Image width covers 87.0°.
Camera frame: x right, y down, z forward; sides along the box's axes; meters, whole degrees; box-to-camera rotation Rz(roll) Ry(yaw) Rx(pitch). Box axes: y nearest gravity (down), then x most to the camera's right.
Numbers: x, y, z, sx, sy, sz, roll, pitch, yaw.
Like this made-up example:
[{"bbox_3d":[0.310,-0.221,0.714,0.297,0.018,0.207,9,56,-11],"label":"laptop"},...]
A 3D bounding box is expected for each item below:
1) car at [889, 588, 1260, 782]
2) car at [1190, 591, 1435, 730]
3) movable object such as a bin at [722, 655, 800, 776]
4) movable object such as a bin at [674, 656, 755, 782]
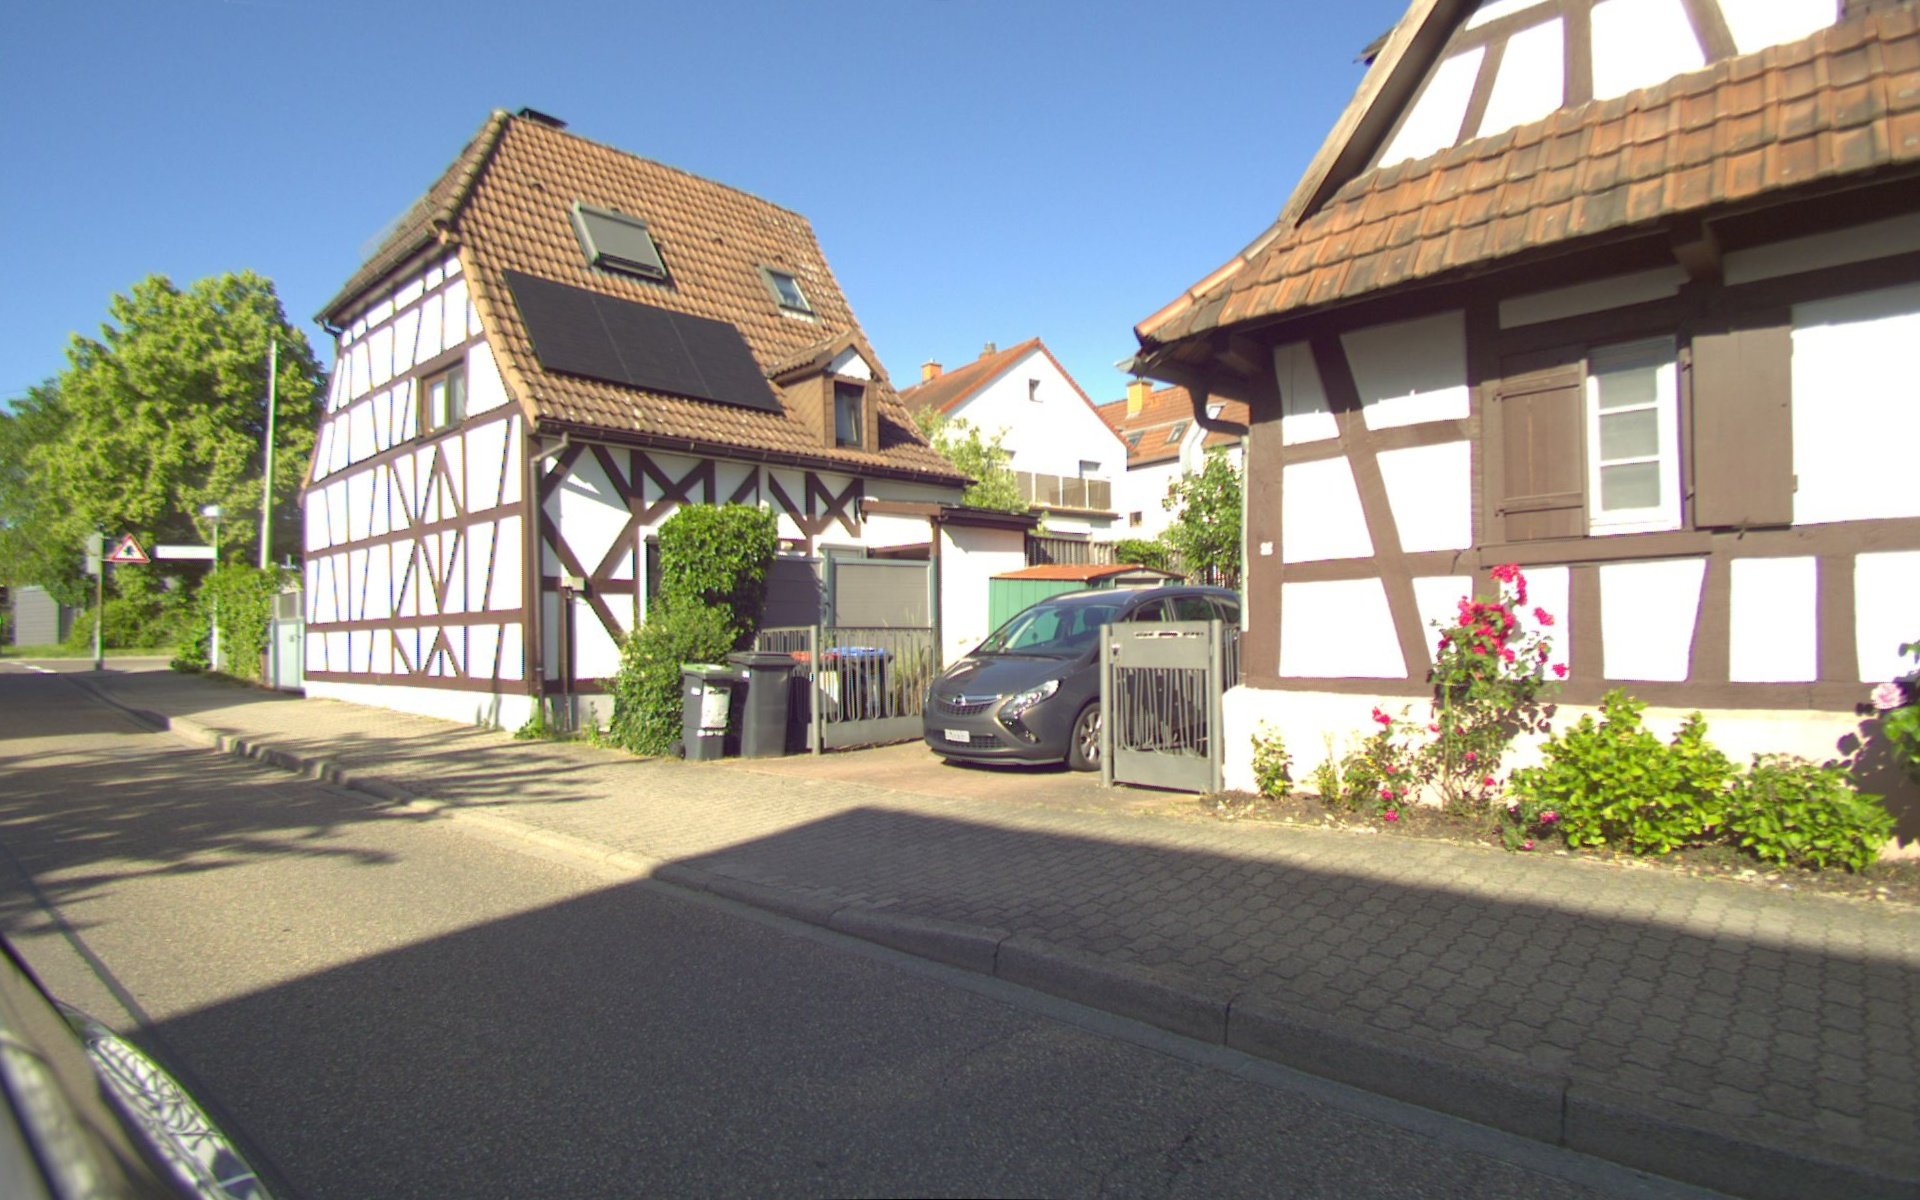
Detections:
[{"bbox_3d":[1.366,0.796,10.550,1.819,1.604,4.059,-1,-3,42],"label":"car"},{"bbox_3d":[5.066,0.716,14.238,1.819,1.604,4.060,-1,1,42],"label":"car"},{"bbox_3d":[-2.013,1.141,10.231,0.667,1.149,0.471,-2,-2,42],"label":"movable object such as a bin"},{"bbox_3d":[-2.382,1.129,9.821,0.667,1.149,0.471,-2,-2,42],"label":"movable object such as a bin"}]
